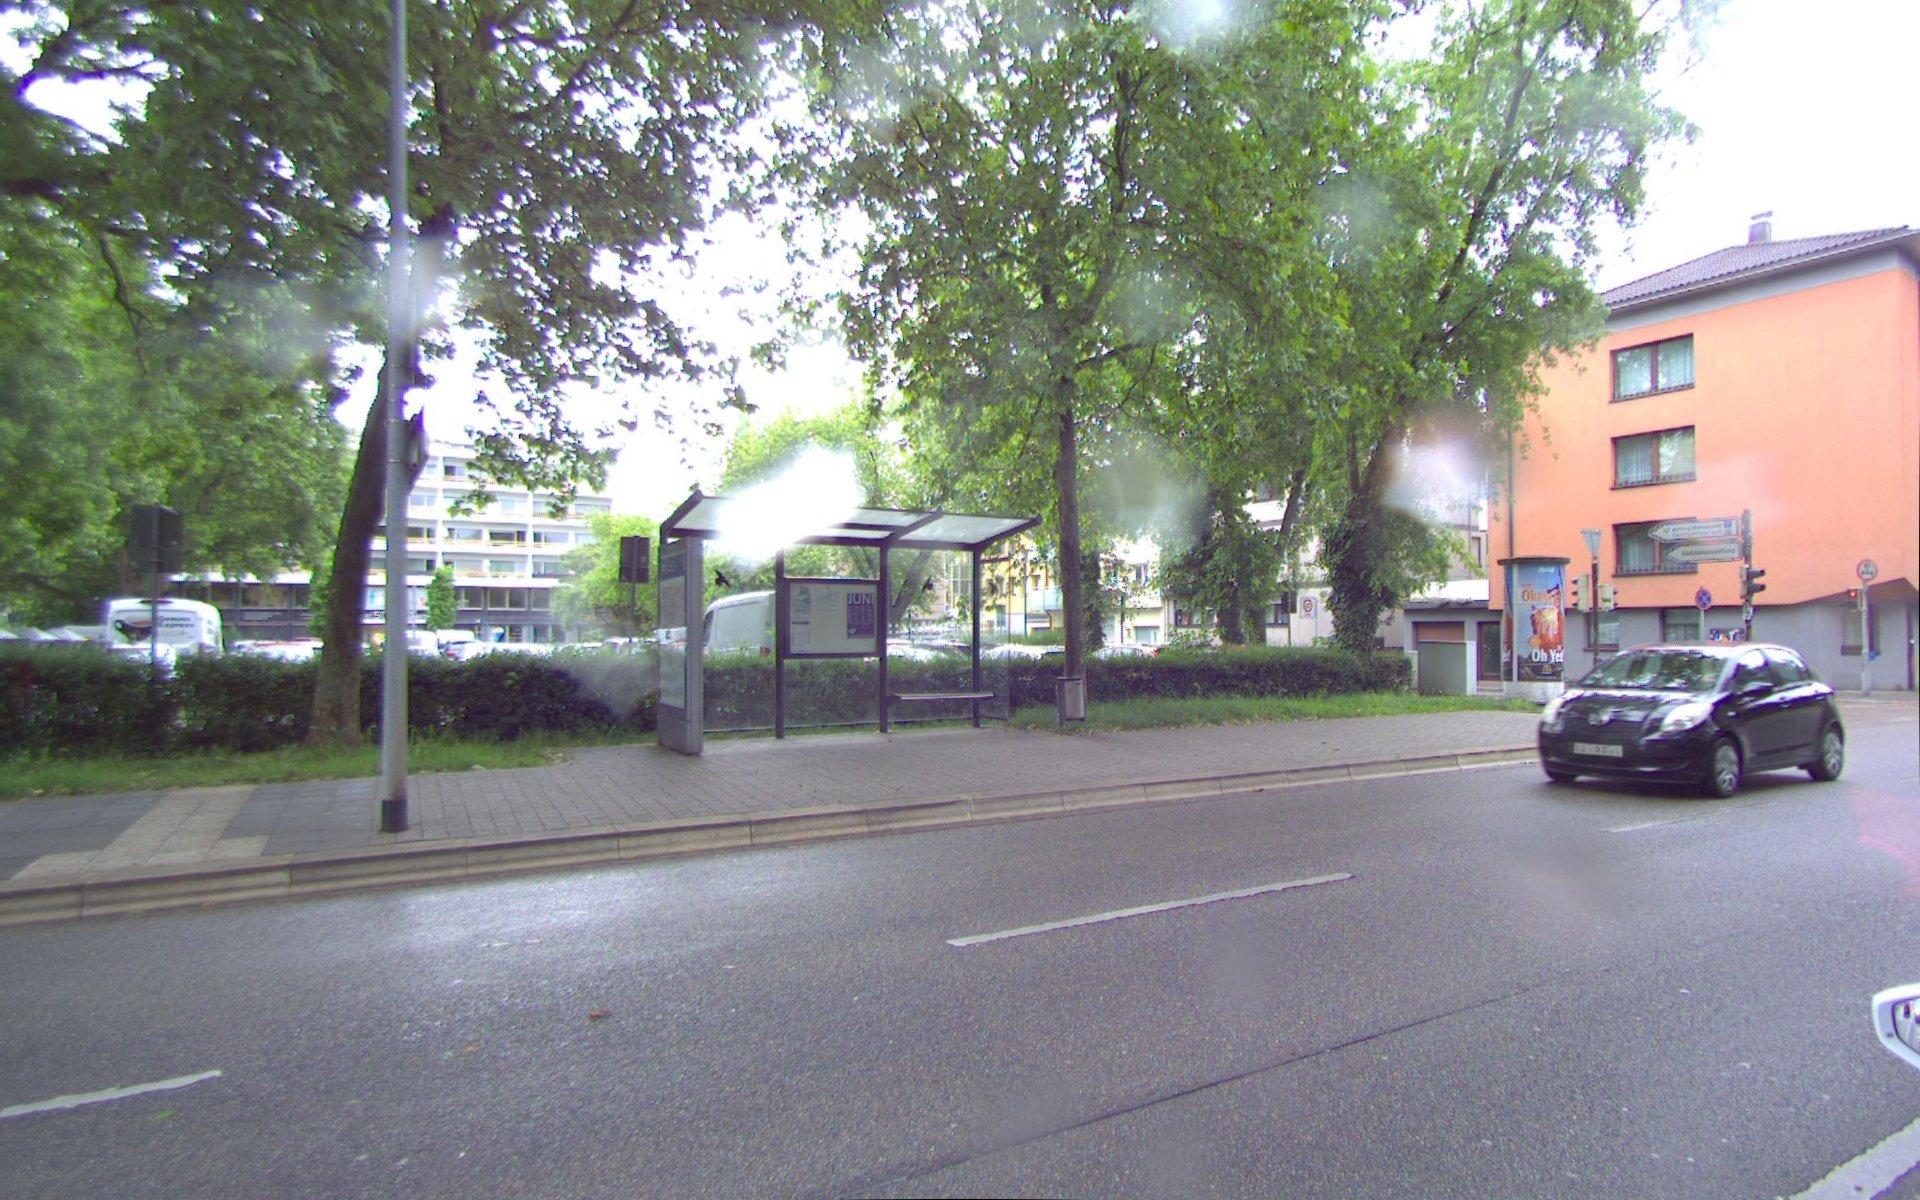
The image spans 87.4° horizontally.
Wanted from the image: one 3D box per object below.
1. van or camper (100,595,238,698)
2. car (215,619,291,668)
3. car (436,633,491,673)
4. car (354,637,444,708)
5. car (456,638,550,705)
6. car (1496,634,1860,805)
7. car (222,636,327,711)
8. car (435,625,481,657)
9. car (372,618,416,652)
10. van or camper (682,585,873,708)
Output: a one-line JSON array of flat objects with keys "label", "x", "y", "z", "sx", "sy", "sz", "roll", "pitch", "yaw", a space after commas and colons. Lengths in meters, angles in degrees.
[{"label": "van or camper", "x": -20.634, "y": 1.197, "z": 26.430, "sx": 2.073, "sy": 2.463, "sz": 4.310, "roll": 1, "pitch": -2, "yaw": -28}, {"label": "car", "x": -25.072, "y": 1.507, "z": 35.735, "sx": 1.876, "sy": 1.506, "sz": 3.966, "roll": 2, "pitch": 0, "yaw": -31}, {"label": "car", "x": -22.126, "y": 2.313, "z": 44.685, "sx": 1.876, "sy": 1.506, "sz": 3.966, "roll": 2, "pitch": 0, "yaw": -31}, {"label": "car", "x": -14.627, "y": 1.820, "z": 26.114, "sx": 1.876, "sy": 1.506, "sz": 3.966, "roll": 2, "pitch": 0, "yaw": -31}, {"label": "car", "x": -12.533, "y": 1.884, "z": 27.407, "sx": 1.876, "sy": 1.506, "sz": 3.966, "roll": 2, "pitch": 0, "yaw": -31}, {"label": "car", "x": 7.803, "y": 1.157, "z": 10.875, "sx": 3.822, "sy": 1.553, "sz": 1.787, "roll": 1, "pitch": -3, "yaw": -30}, {"label": "car", "x": -16.876, "y": 1.752, "z": 24.897, "sx": 1.876, "sy": 1.506, "sz": 3.966, "roll": 2, "pitch": 0, "yaw": -31}, {"label": "car", "x": -26.984, "y": 2.168, "z": 53.938, "sx": 1.876, "sy": 1.506, "sz": 3.966, "roll": 2, "pitch": 0, "yaw": -31}, {"label": "car", "x": -32.494, "y": 2.002, "z": 57.609, "sx": 2.075, "sy": 1.745, "sz": 3.966, "roll": 2, "pitch": 0, "yaw": -31}, {"label": "van or camper", "x": -3.511, "y": 0.824, "z": 18.597, "sx": 1.978, "sy": 1.975, "sz": 4.572, "roll": 1, "pitch": -2, "yaw": -31}]
